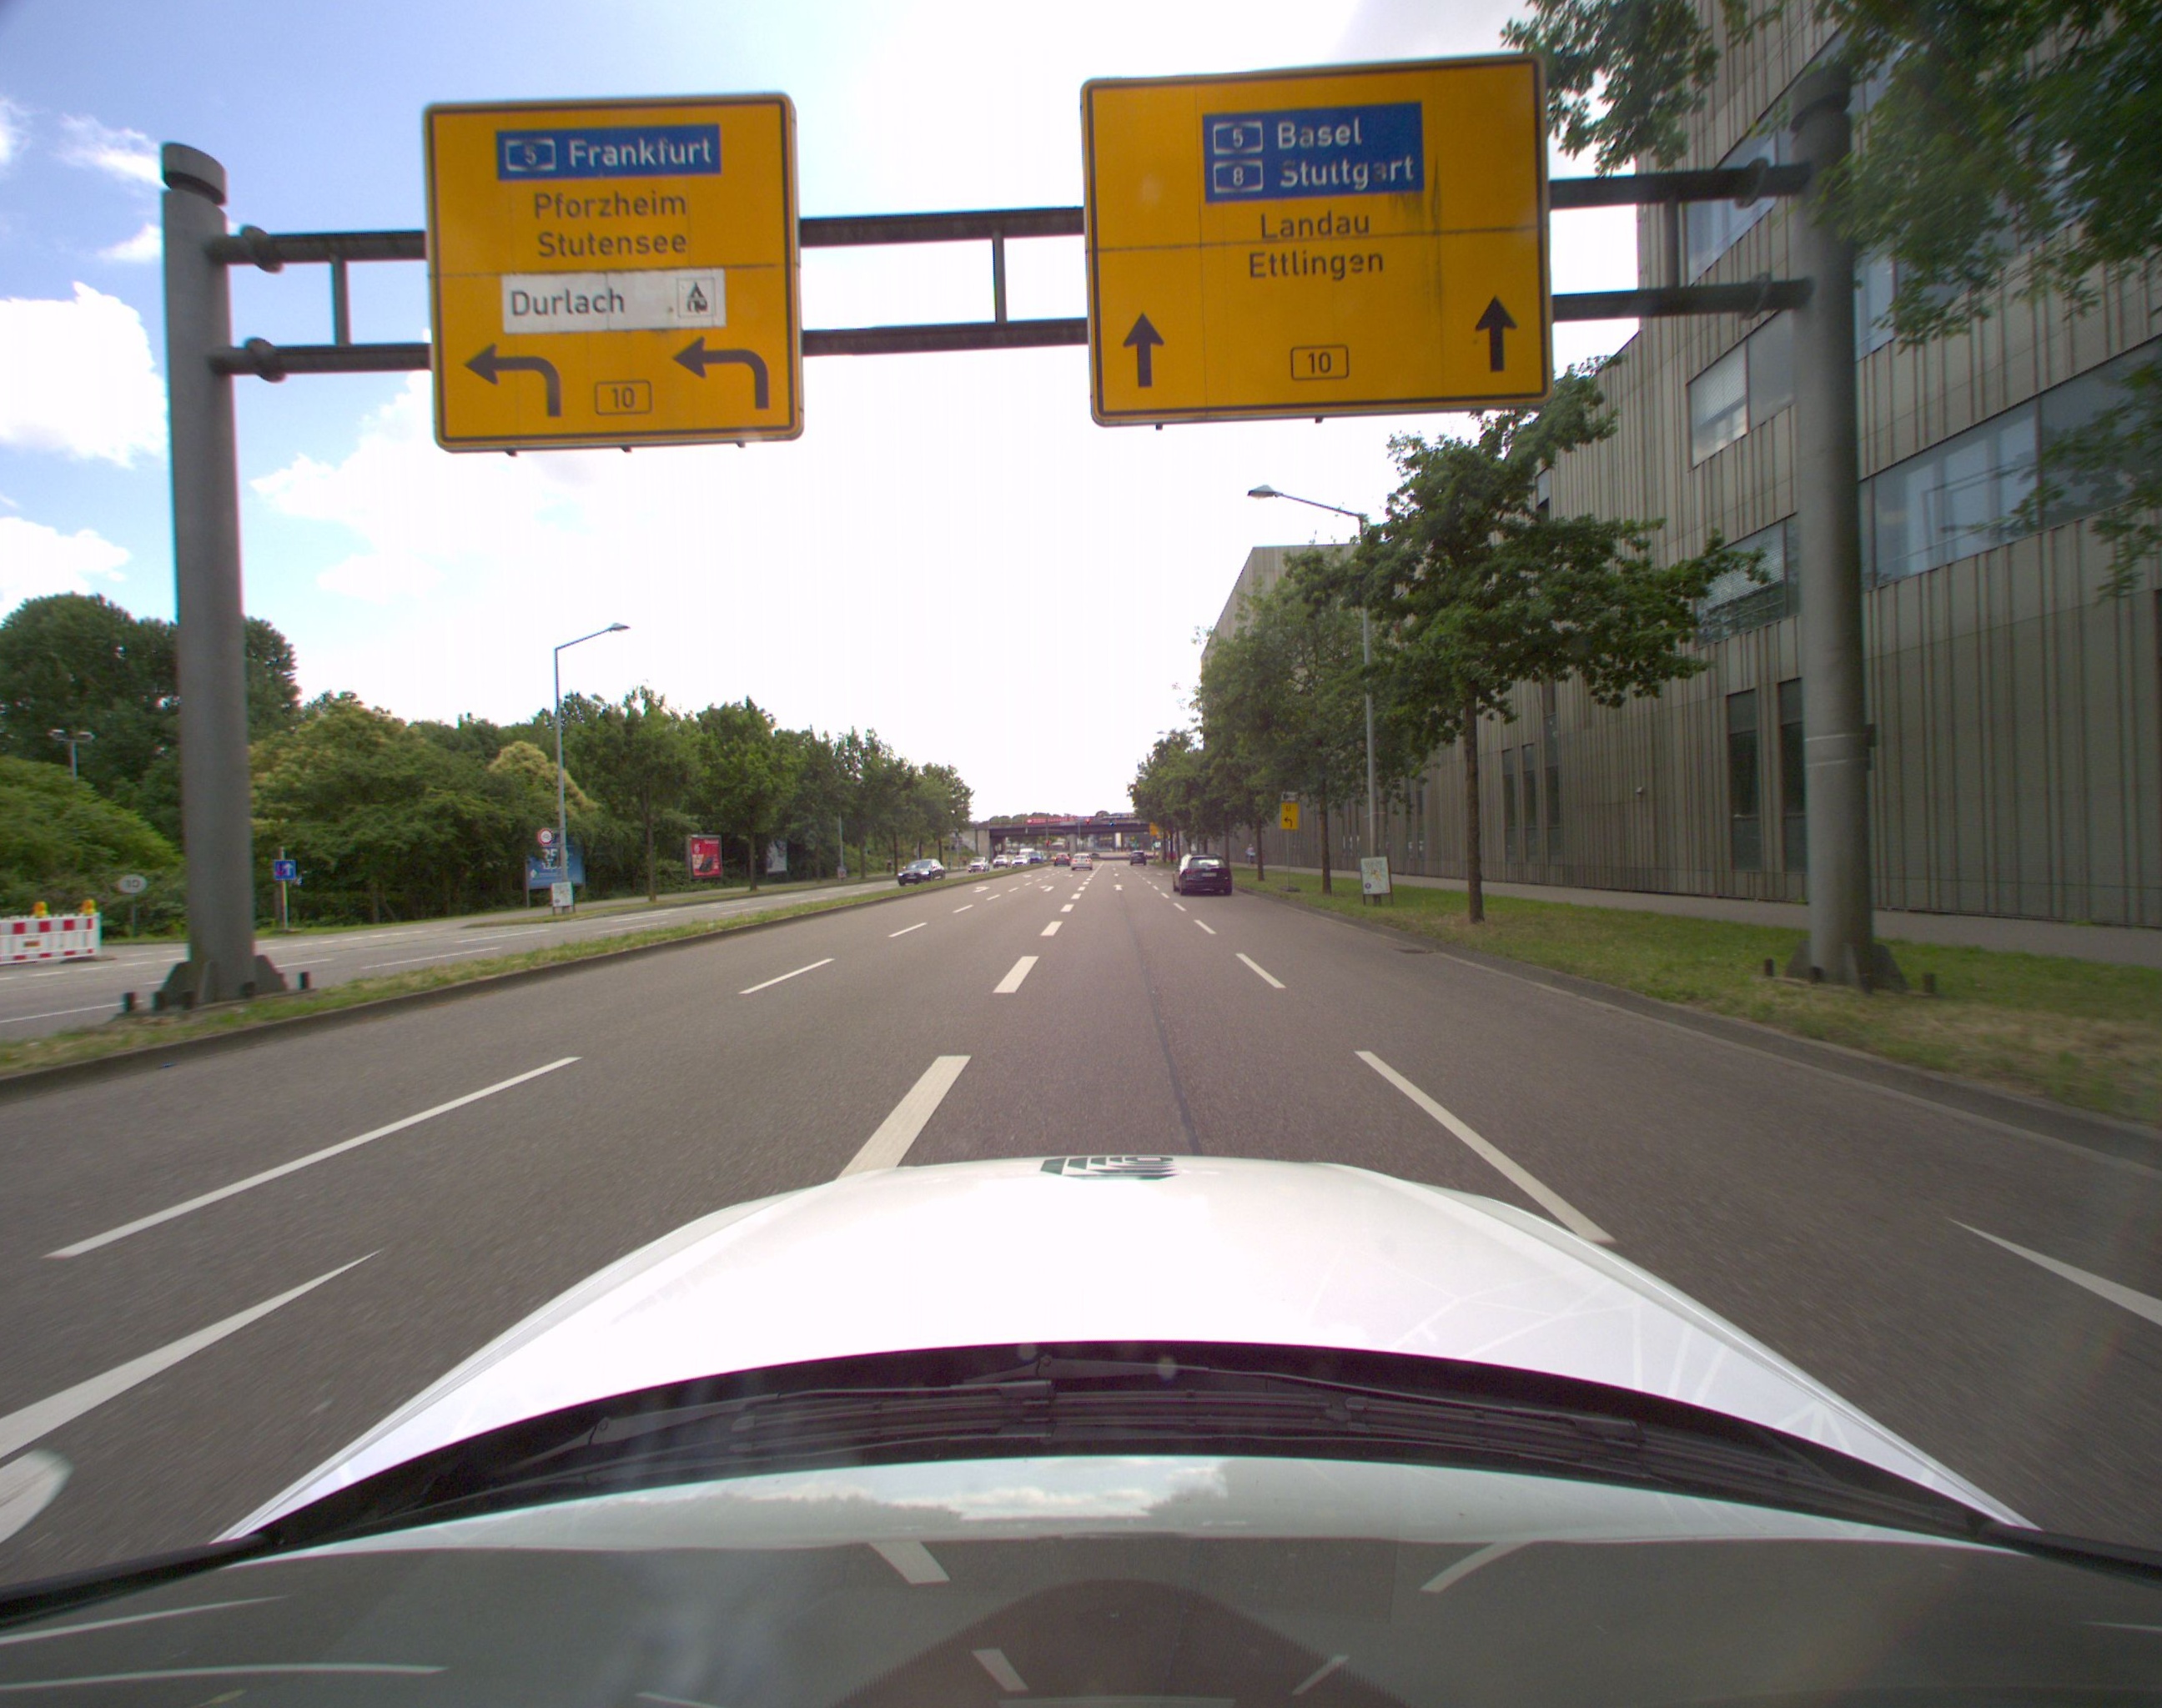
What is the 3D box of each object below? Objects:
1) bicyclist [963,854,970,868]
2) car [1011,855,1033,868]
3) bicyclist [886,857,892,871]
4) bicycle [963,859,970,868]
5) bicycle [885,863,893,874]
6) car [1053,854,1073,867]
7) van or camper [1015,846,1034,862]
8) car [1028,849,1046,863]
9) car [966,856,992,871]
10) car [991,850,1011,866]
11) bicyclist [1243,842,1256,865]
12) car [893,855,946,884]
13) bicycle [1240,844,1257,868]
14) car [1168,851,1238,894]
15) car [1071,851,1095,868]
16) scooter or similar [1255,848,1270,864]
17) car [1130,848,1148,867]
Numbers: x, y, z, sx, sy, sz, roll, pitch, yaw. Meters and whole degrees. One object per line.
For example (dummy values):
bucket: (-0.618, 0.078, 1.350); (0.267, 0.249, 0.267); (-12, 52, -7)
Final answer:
bicyclist: (-17.028, 1.001, 120.880); (0.752, 2.014, 0.842); (-1, 0, 7)
car: (-7.034, 0.868, 97.366); (1.986, 1.431, 5.027); (-2, 0, 2)
bicyclist: (-19.803, 0.999, 84.040); (0.493, 1.464, 0.712); (-1, 0, -4)
bicycle: (-16.994, 1.403, 120.879); (0.666, 1.244, 2.044); (-1, 0, 6)
bicycle: (-19.818, 1.512, 83.989); (0.508, 1.106, 1.843); (-1, 0, -3)
car: (-2.092, 0.764, 93.717); (1.986, 1.415, 4.834); (-1, 0, 2)
van or camper: (-8.886, -0.036, 129.395); (2.343, 2.539, 7.065); (-1, 0, 1)
car: (-6.356, 0.264, 118.494); (2.183, 1.963, 5.194); (-2, 0, 1)
car: (-10.519, 0.962, 84.201); (1.907, 1.442, 4.416); (-4, 0, 1)
car: (-10.167, 0.487, 103.559); (1.987, 1.801, 4.410); (-2, 0, 1)
bicyclist: (13.080, -0.049, 63.369); (0.713, 1.769, 0.988); (-2, 0, -2)
car: (-9.367, 0.856, 47.613); (1.952, 1.517, 4.911); (-2, 0, 2)
bicycle: (13.083, 0.153, 63.715); (0.717, 1.774, 2.532); (-2, 0, -1)
car: (4.329, 0.614, 29.573); (1.986, 1.390, 4.578); (-1, 1, 2)
car: (0.187, 0.463, 71.561); (1.908, 1.414, 4.298); (1, 0, 2)
scooter or similar: (14.723, 0.123, 66.253); (0.701, 1.246, 2.481); (-3, 0, 2)
car: (6.711, 0.381, 94.658); (1.986, 2.037, 4.716); (-2, 0, 2)
